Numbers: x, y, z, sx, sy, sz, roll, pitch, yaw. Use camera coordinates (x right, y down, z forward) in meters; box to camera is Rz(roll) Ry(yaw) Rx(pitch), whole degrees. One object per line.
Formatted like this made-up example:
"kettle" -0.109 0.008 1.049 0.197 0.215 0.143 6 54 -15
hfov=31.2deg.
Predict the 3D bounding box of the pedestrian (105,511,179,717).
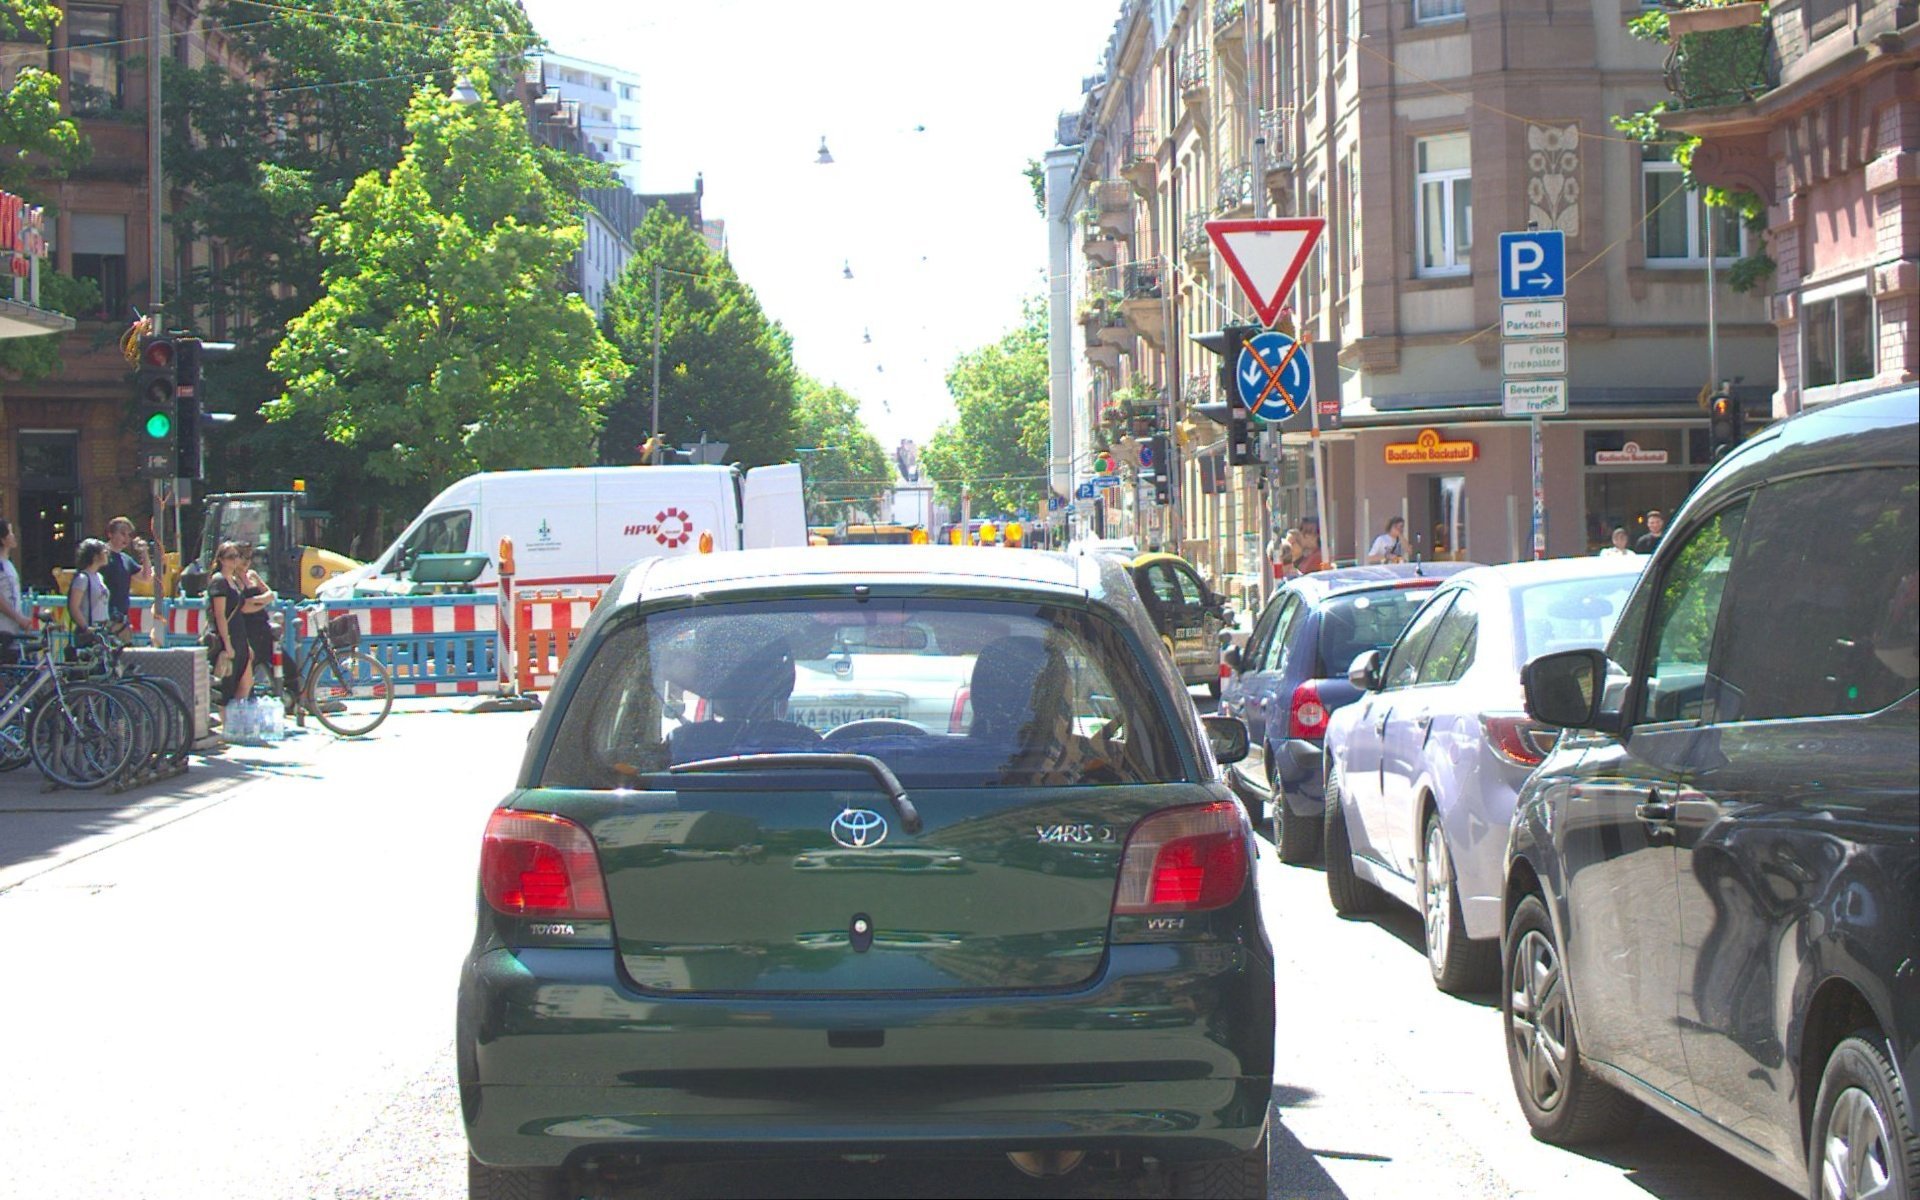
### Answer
"pedestrian" -7.290 0.120 30.660 0.509 1.813 0.600 -1 1 -3

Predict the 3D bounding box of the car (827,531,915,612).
"car" -1.928 -0.627 75.733 1.754 1.639 4.378 -3 1 0

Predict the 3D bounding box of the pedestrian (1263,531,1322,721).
"pedestrian" 2.748 0.210 28.424 0.459 1.555 0.479 -1 1 6

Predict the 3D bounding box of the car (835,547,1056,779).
"car" -0.063 0.415 25.660 1.522 1.587 3.264 -1 1 1

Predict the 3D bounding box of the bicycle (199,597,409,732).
"bicycle" -5.706 0.553 29.888 1.806 1.115 0.467 1 1 21

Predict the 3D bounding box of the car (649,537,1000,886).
"car" -0.623 0.463 16.794 1.522 1.516 3.264 -1 1 -1

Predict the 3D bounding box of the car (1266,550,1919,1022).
"car" 2.336 0.560 13.075 1.725 1.427 4.486 -2 1 -2

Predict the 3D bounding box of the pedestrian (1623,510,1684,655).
"pedestrian" 8.707 -0.222 43.179 0.575 1.762 0.472 -3 4 -8

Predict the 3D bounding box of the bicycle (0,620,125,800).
"bicycle" -6.321 0.705 22.478 1.583 1.135 0.527 1 0 -4

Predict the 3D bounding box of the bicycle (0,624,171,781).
"bicycle" -6.169 0.690 23.401 1.493 1.027 0.398 1 0 -4

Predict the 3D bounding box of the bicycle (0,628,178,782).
"bicycle" -6.201 0.724 23.870 1.447 1.032 0.335 1 0 -4

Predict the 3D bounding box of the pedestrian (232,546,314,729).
"pedestrian" -5.941 0.317 29.726 0.496 1.560 0.459 2 1 26

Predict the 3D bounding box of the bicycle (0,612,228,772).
"bicycle" -6.304 0.668 25.120 1.797 1.119 0.578 1 0 -6

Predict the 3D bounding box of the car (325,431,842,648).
"car" -4.972 -0.806 46.126 6.622 2.742 2.380 1 0 1

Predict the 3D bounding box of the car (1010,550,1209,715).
"car" 1.475 0.265 32.662 1.627 1.427 3.659 -2 1 6

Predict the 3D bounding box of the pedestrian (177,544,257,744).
"pedestrian" -6.138 0.357 28.426 0.541 1.627 0.511 -1 0 -3

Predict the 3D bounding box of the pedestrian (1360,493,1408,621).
"pedestrian" 5.826 -0.582 47.239 0.478 1.727 0.871 -1 -1 19

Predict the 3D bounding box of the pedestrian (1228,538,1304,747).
"pedestrian" 2.311 0.315 25.941 0.493 1.538 0.436 -3 0 6

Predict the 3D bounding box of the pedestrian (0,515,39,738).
"pedestrian" -7.716 0.211 27.523 0.509 1.764 0.600 -1 1 -3

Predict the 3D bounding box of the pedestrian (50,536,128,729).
"pedestrian" -7.451 0.269 29.421 0.509 1.627 0.600 -1 1 -3

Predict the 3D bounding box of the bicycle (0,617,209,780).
"bicycle" -6.139 0.695 24.418 1.519 1.113 0.335 1 0 -4

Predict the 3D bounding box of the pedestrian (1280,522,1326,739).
"pedestrian" 2.670 0.234 26.783 0.332 1.670 0.401 -1 1 6

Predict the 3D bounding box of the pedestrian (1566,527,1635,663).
"pedestrian" 8.029 -0.068 43.087 0.701 1.639 0.423 -3 4 -8

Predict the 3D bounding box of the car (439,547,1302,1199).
"car" -0.130 0.626 8.045 1.614 1.480 3.241 0 1 1

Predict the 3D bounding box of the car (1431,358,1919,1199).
"car" 2.312 0.461 7.233 1.824 1.761 4.338 -2 1 -2

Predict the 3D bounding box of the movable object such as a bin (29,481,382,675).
"movable object such as a bin" -10.706 -0.318 48.984 4.543 2.650 1.955 1 0 2

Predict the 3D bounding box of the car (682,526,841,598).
"car" -6.255 -1.197 108.190 4.557 2.180 2.000 -1 1 -27

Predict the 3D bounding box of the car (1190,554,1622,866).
"car" 2.246 0.502 18.175 1.627 1.427 3.660 -2 1 -2
